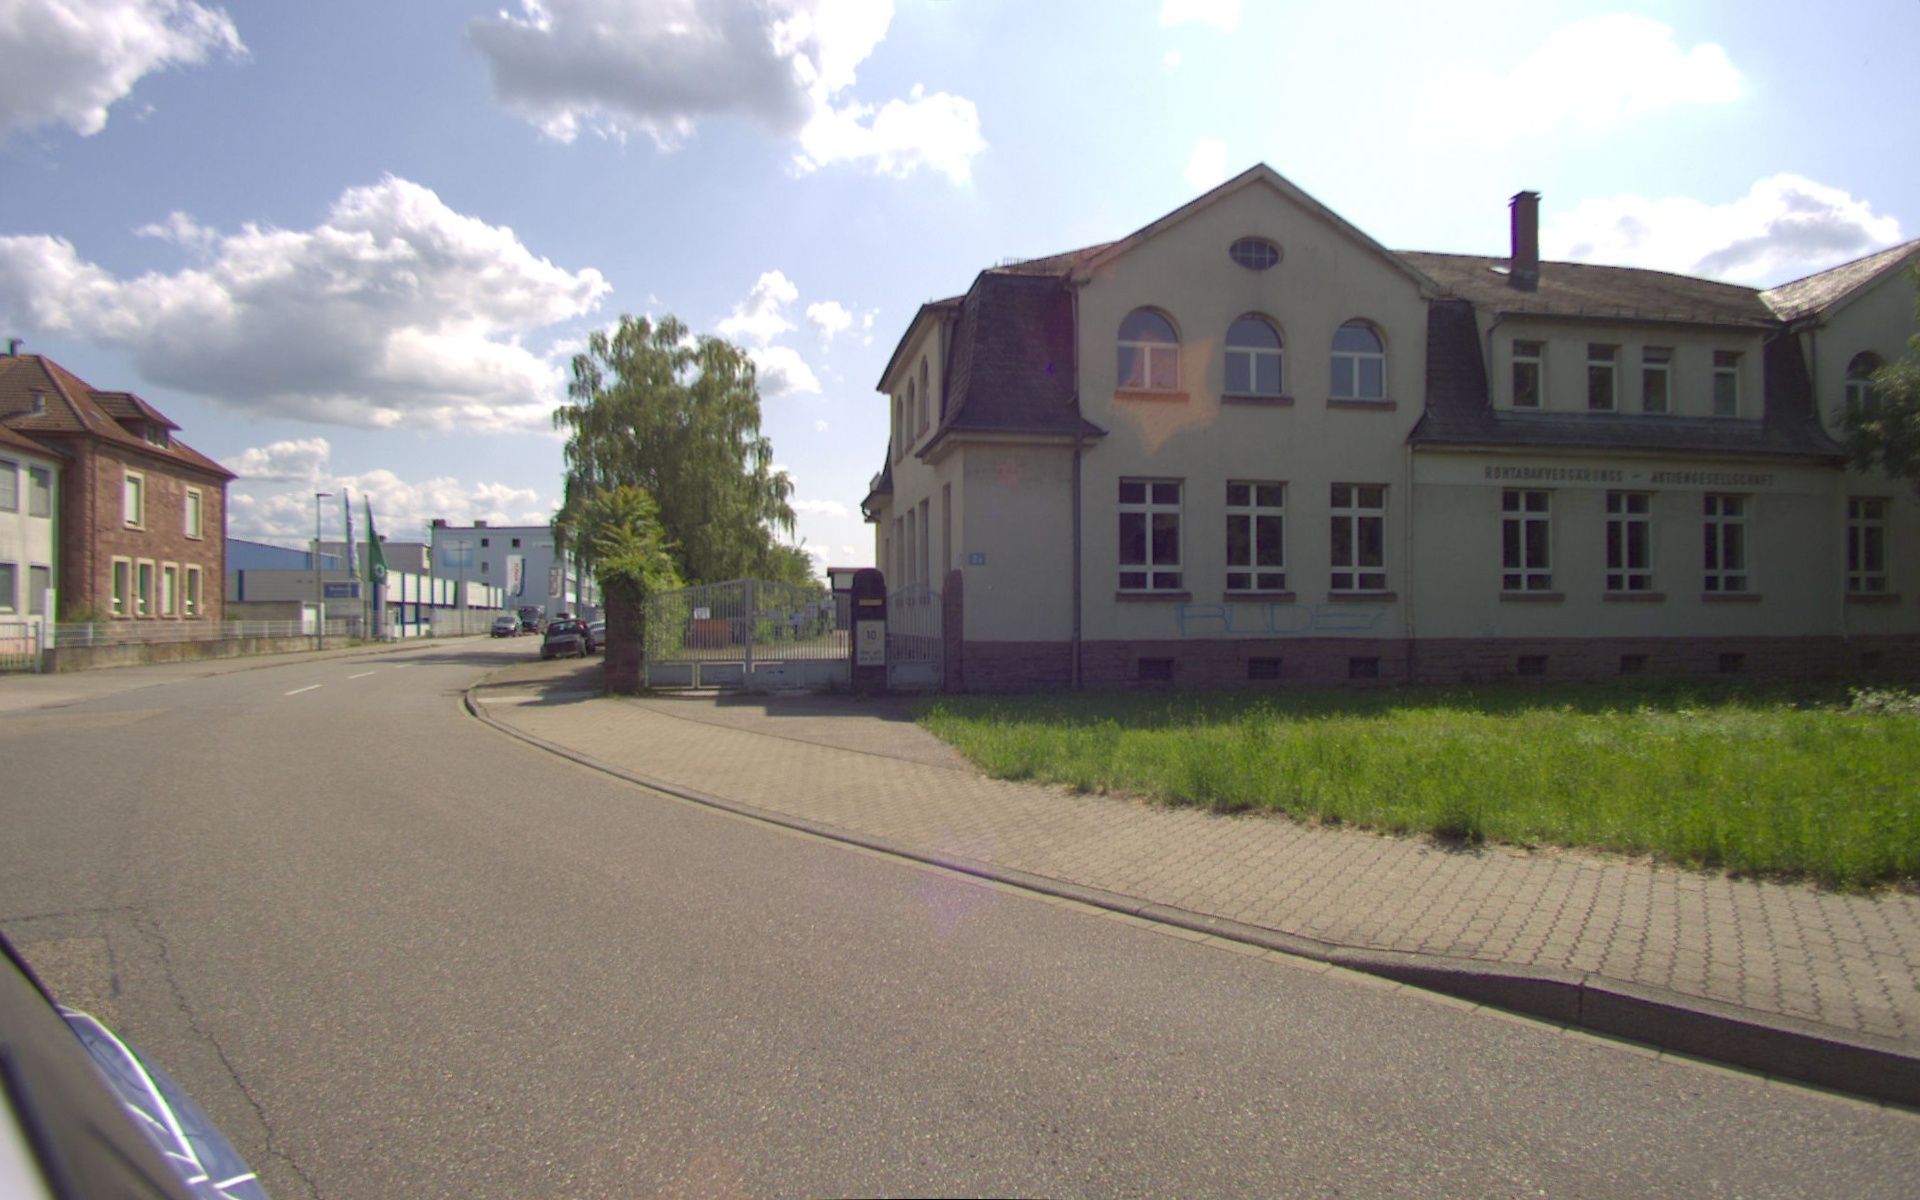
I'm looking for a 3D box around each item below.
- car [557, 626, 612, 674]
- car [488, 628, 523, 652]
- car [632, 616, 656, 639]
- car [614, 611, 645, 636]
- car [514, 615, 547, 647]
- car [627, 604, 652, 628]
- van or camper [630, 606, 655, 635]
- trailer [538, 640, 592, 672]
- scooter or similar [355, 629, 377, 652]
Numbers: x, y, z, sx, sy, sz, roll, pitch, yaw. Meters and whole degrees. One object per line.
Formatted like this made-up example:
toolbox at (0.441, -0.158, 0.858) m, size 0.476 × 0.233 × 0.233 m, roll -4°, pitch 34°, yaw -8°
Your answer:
car at (-14.893, 1.939, 40.275) m, size 1.659 × 1.523 × 4.170 m, roll -5°, pitch 2°, yaw -16°
car at (-35.373, 3.061, 78.879) m, size 1.800 × 1.677 × 4.568 m, roll 0°, pitch 0°, yaw -15°
car at (-28.283, 2.465, 90.659) m, size 1.677 × 1.815 × 3.836 m, roll -5°, pitch 1°, yaw -13°
car at (-22.423, 1.577, 68.747) m, size 1.677 × 1.607 × 4.800 m, roll -1°, pitch 0°, yaw -15°
car at (-38.593, 2.767, 90.987) m, size 1.911 × 2.769 × 6.172 m, roll 0°, pitch -2°, yaw -16°
car at (-29.922, 1.487, 94.637) m, size 1.873 × 1.968 × 4.972 m, roll -6°, pitch 2°, yaw -15°
van or camper at (-33.512, 2.101, 106.839) m, size 2.232 × 2.824 × 6.854 m, roll -5°, pitch 1°, yaw -17°
trailer at (-14.112, 1.982, 36.275) m, size 1.445 × 0.857 × 2.474 m, roll -6°, pitch 2°, yaw -14°
scooter or similar at (-33.901, 2.314, 57.782) m, size 1.134 × 1.255 × 0.259 m, roll 0°, pitch 0°, yaw 3°
